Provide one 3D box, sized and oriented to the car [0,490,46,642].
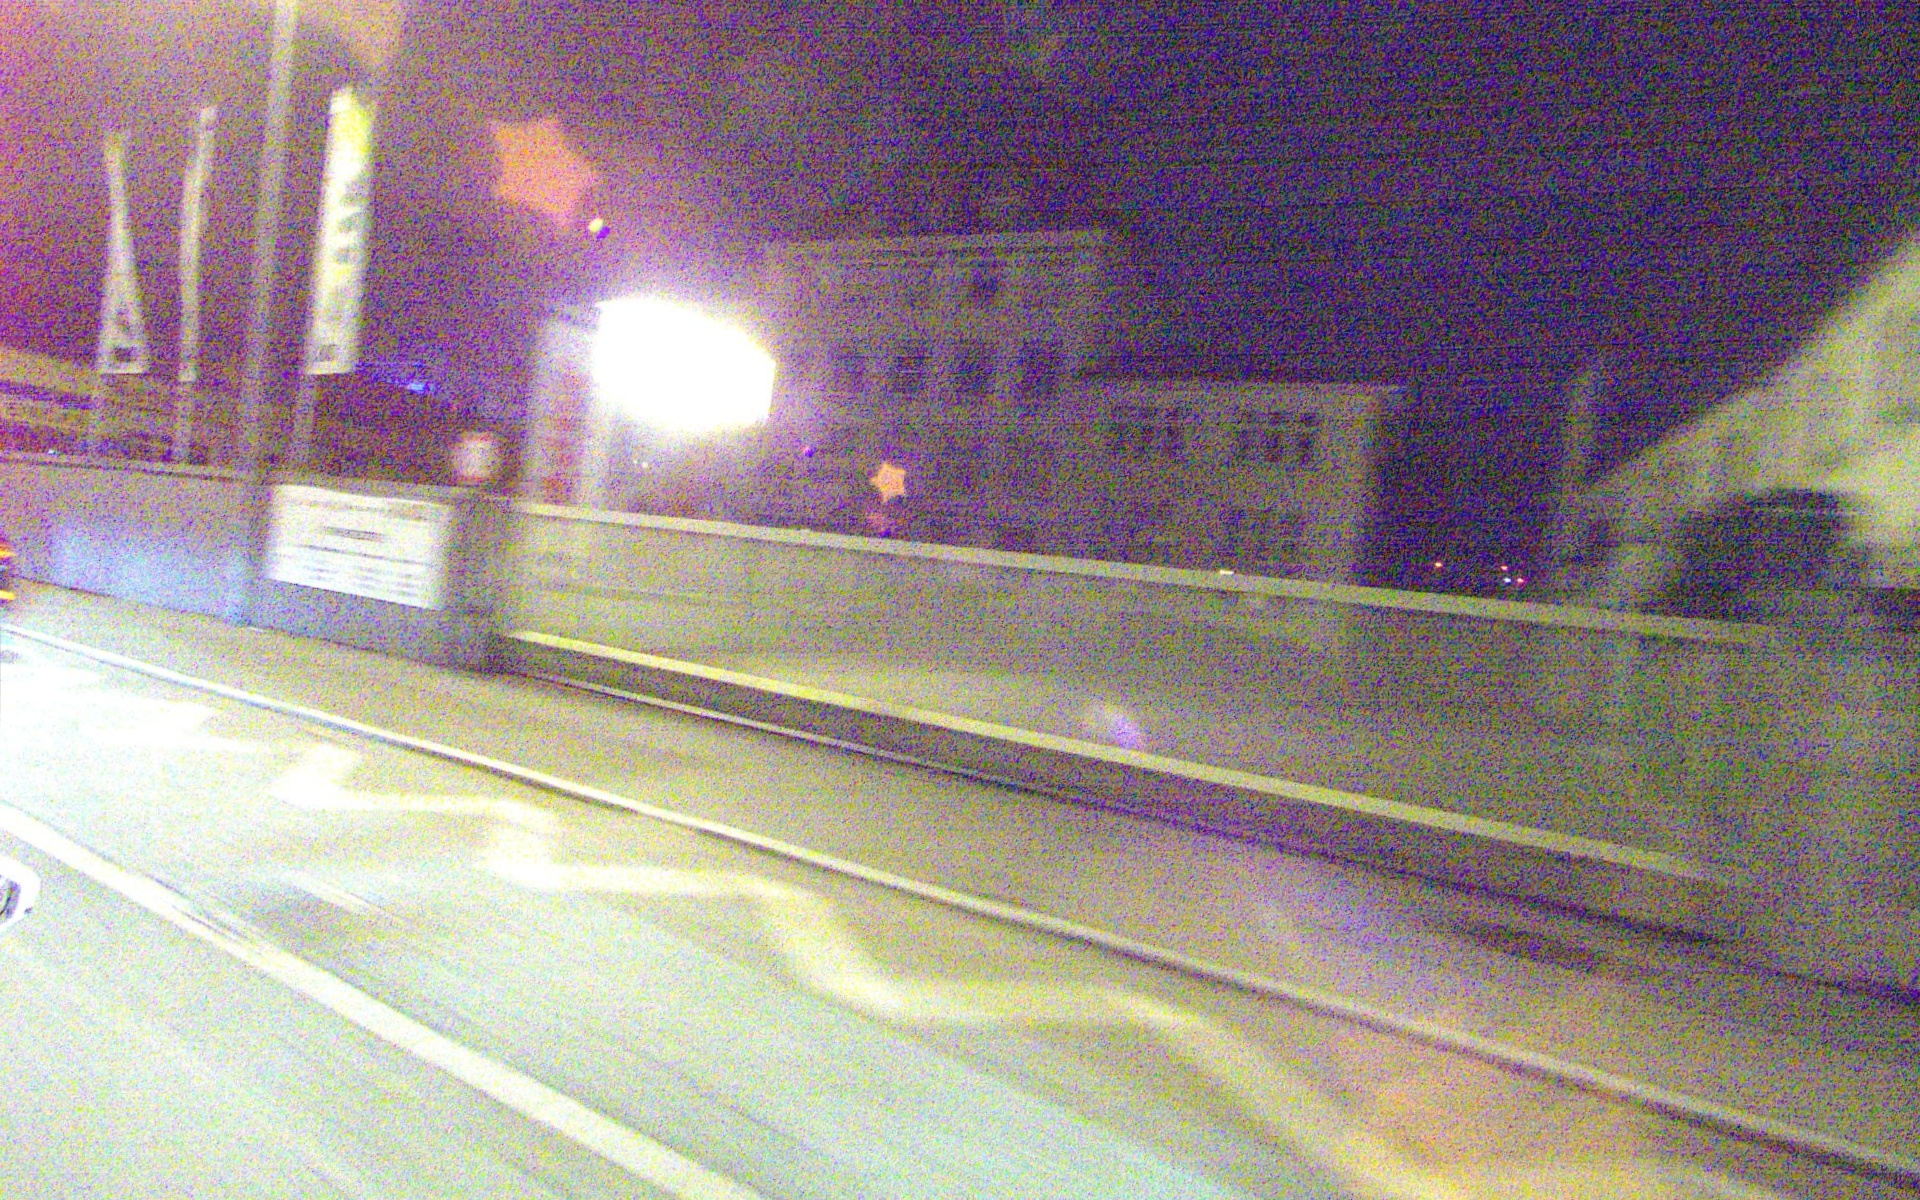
[{"bbox_3d":[-11.382,-0.569,10.229,4.405,1.444,1.782,6,-1,30],"label":"car"}]
